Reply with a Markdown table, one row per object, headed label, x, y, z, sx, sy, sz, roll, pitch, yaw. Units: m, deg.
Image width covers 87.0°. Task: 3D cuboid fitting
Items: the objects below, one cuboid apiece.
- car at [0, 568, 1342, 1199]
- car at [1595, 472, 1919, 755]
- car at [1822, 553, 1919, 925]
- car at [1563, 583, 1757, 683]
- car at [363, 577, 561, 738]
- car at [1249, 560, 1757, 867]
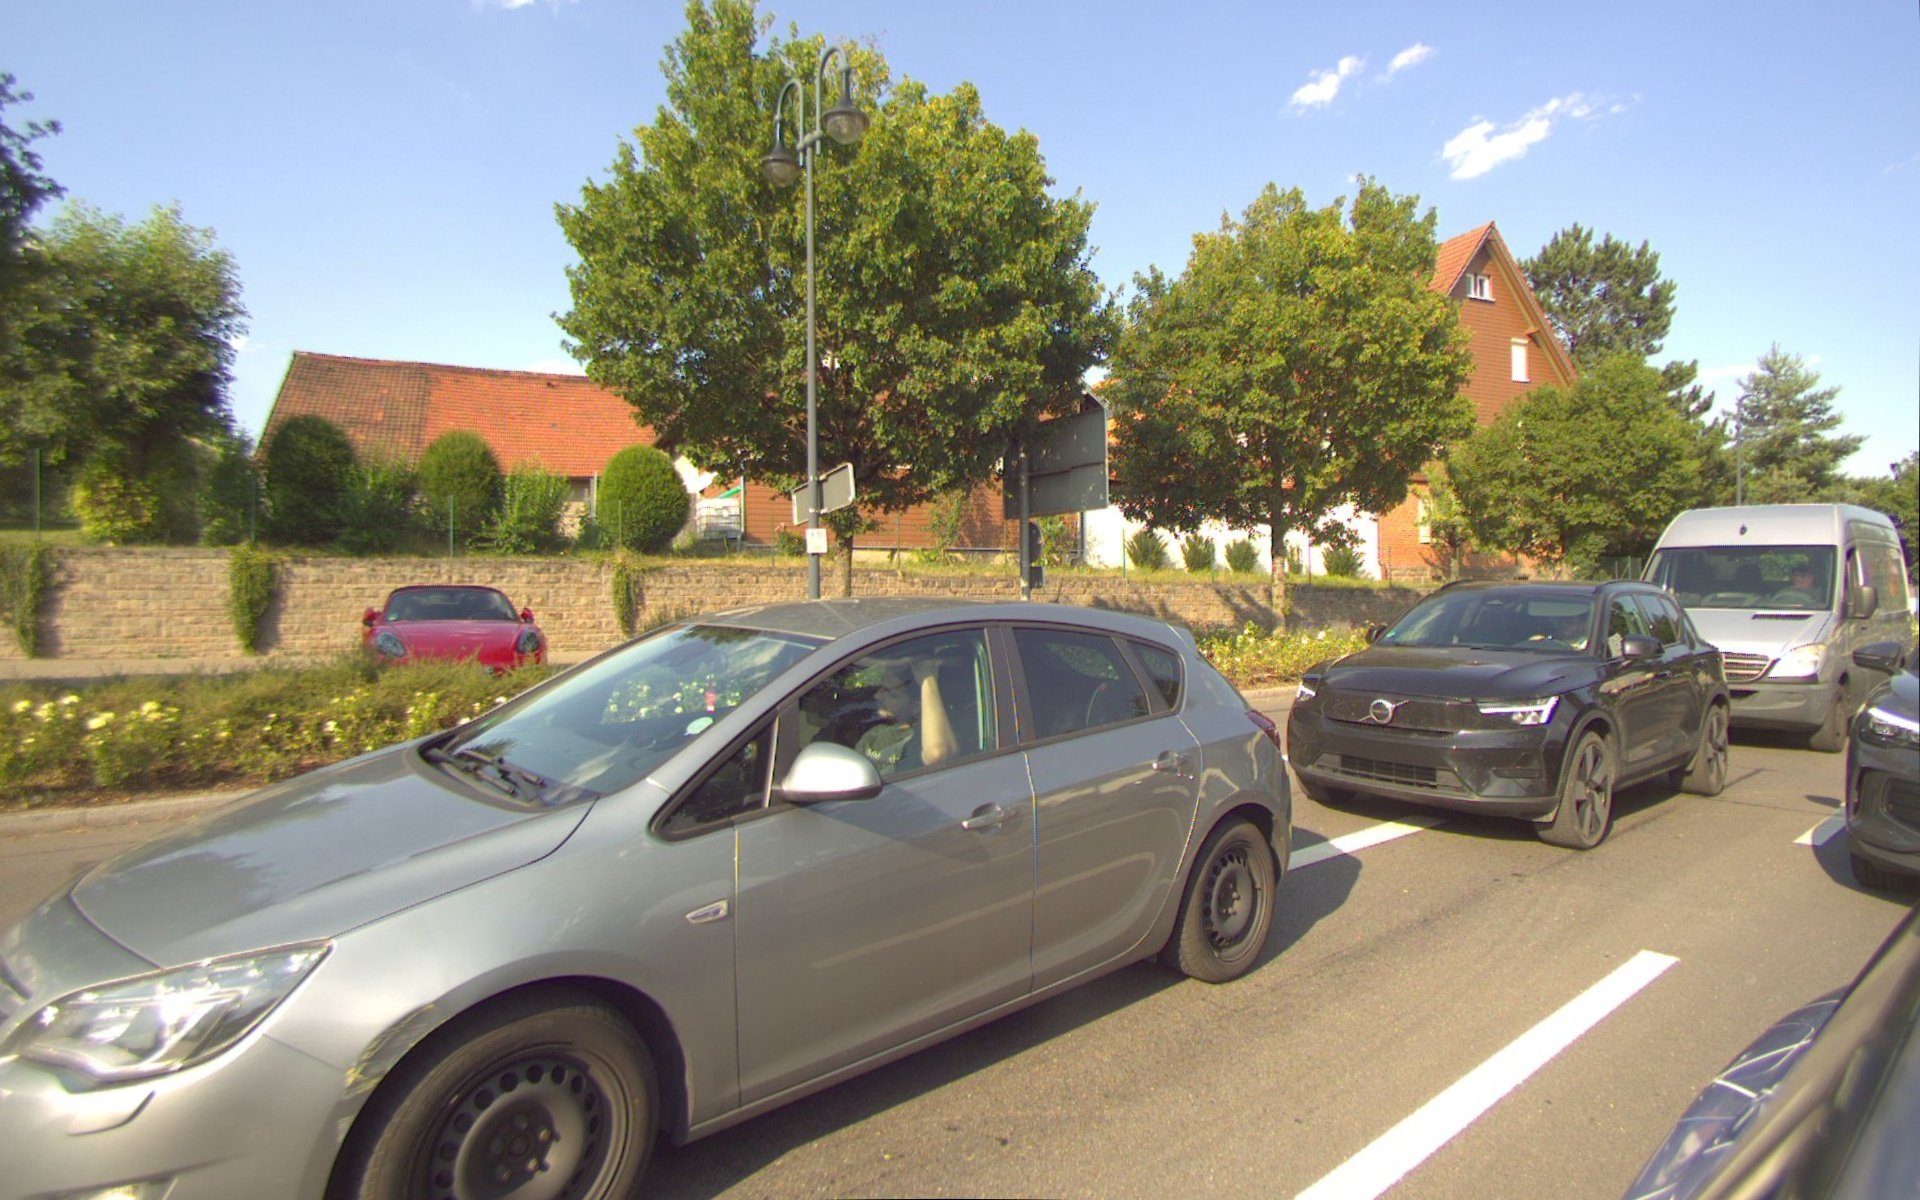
| label | x | y | z | sx | sy | sz | roll | pitch | yaw |
| --- | --- | --- | --- | --- | --- | --- | --- | --- | --- |
| car | -0.559 | 0.667 | 3.521 | 4.244 | 1.471 | 1.765 | 0 | 2 | -42 |
| car | 9.717 | 0.088 | 11.961 | 5.938 | 2.601 | 1.992 | 0 | 1 | -40 |
| car | 6.213 | 0.620 | 5.335 | 4.242 | 1.629 | 1.844 | 0 | 2 | -40 |
| car | 13.096 | 0.533 | 18.829 | 4.483 | 1.628 | 1.766 | 0 | 2 | -39 |
| car | -5.897 | 0.526 | 11.712 | 1.743 | 1.510 | 4.156 | 0 | 0 | -31 |
| car | 4.160 | 0.568 | 7.450 | 4.242 | 1.629 | 1.844 | 0 | 2 | -40 |
